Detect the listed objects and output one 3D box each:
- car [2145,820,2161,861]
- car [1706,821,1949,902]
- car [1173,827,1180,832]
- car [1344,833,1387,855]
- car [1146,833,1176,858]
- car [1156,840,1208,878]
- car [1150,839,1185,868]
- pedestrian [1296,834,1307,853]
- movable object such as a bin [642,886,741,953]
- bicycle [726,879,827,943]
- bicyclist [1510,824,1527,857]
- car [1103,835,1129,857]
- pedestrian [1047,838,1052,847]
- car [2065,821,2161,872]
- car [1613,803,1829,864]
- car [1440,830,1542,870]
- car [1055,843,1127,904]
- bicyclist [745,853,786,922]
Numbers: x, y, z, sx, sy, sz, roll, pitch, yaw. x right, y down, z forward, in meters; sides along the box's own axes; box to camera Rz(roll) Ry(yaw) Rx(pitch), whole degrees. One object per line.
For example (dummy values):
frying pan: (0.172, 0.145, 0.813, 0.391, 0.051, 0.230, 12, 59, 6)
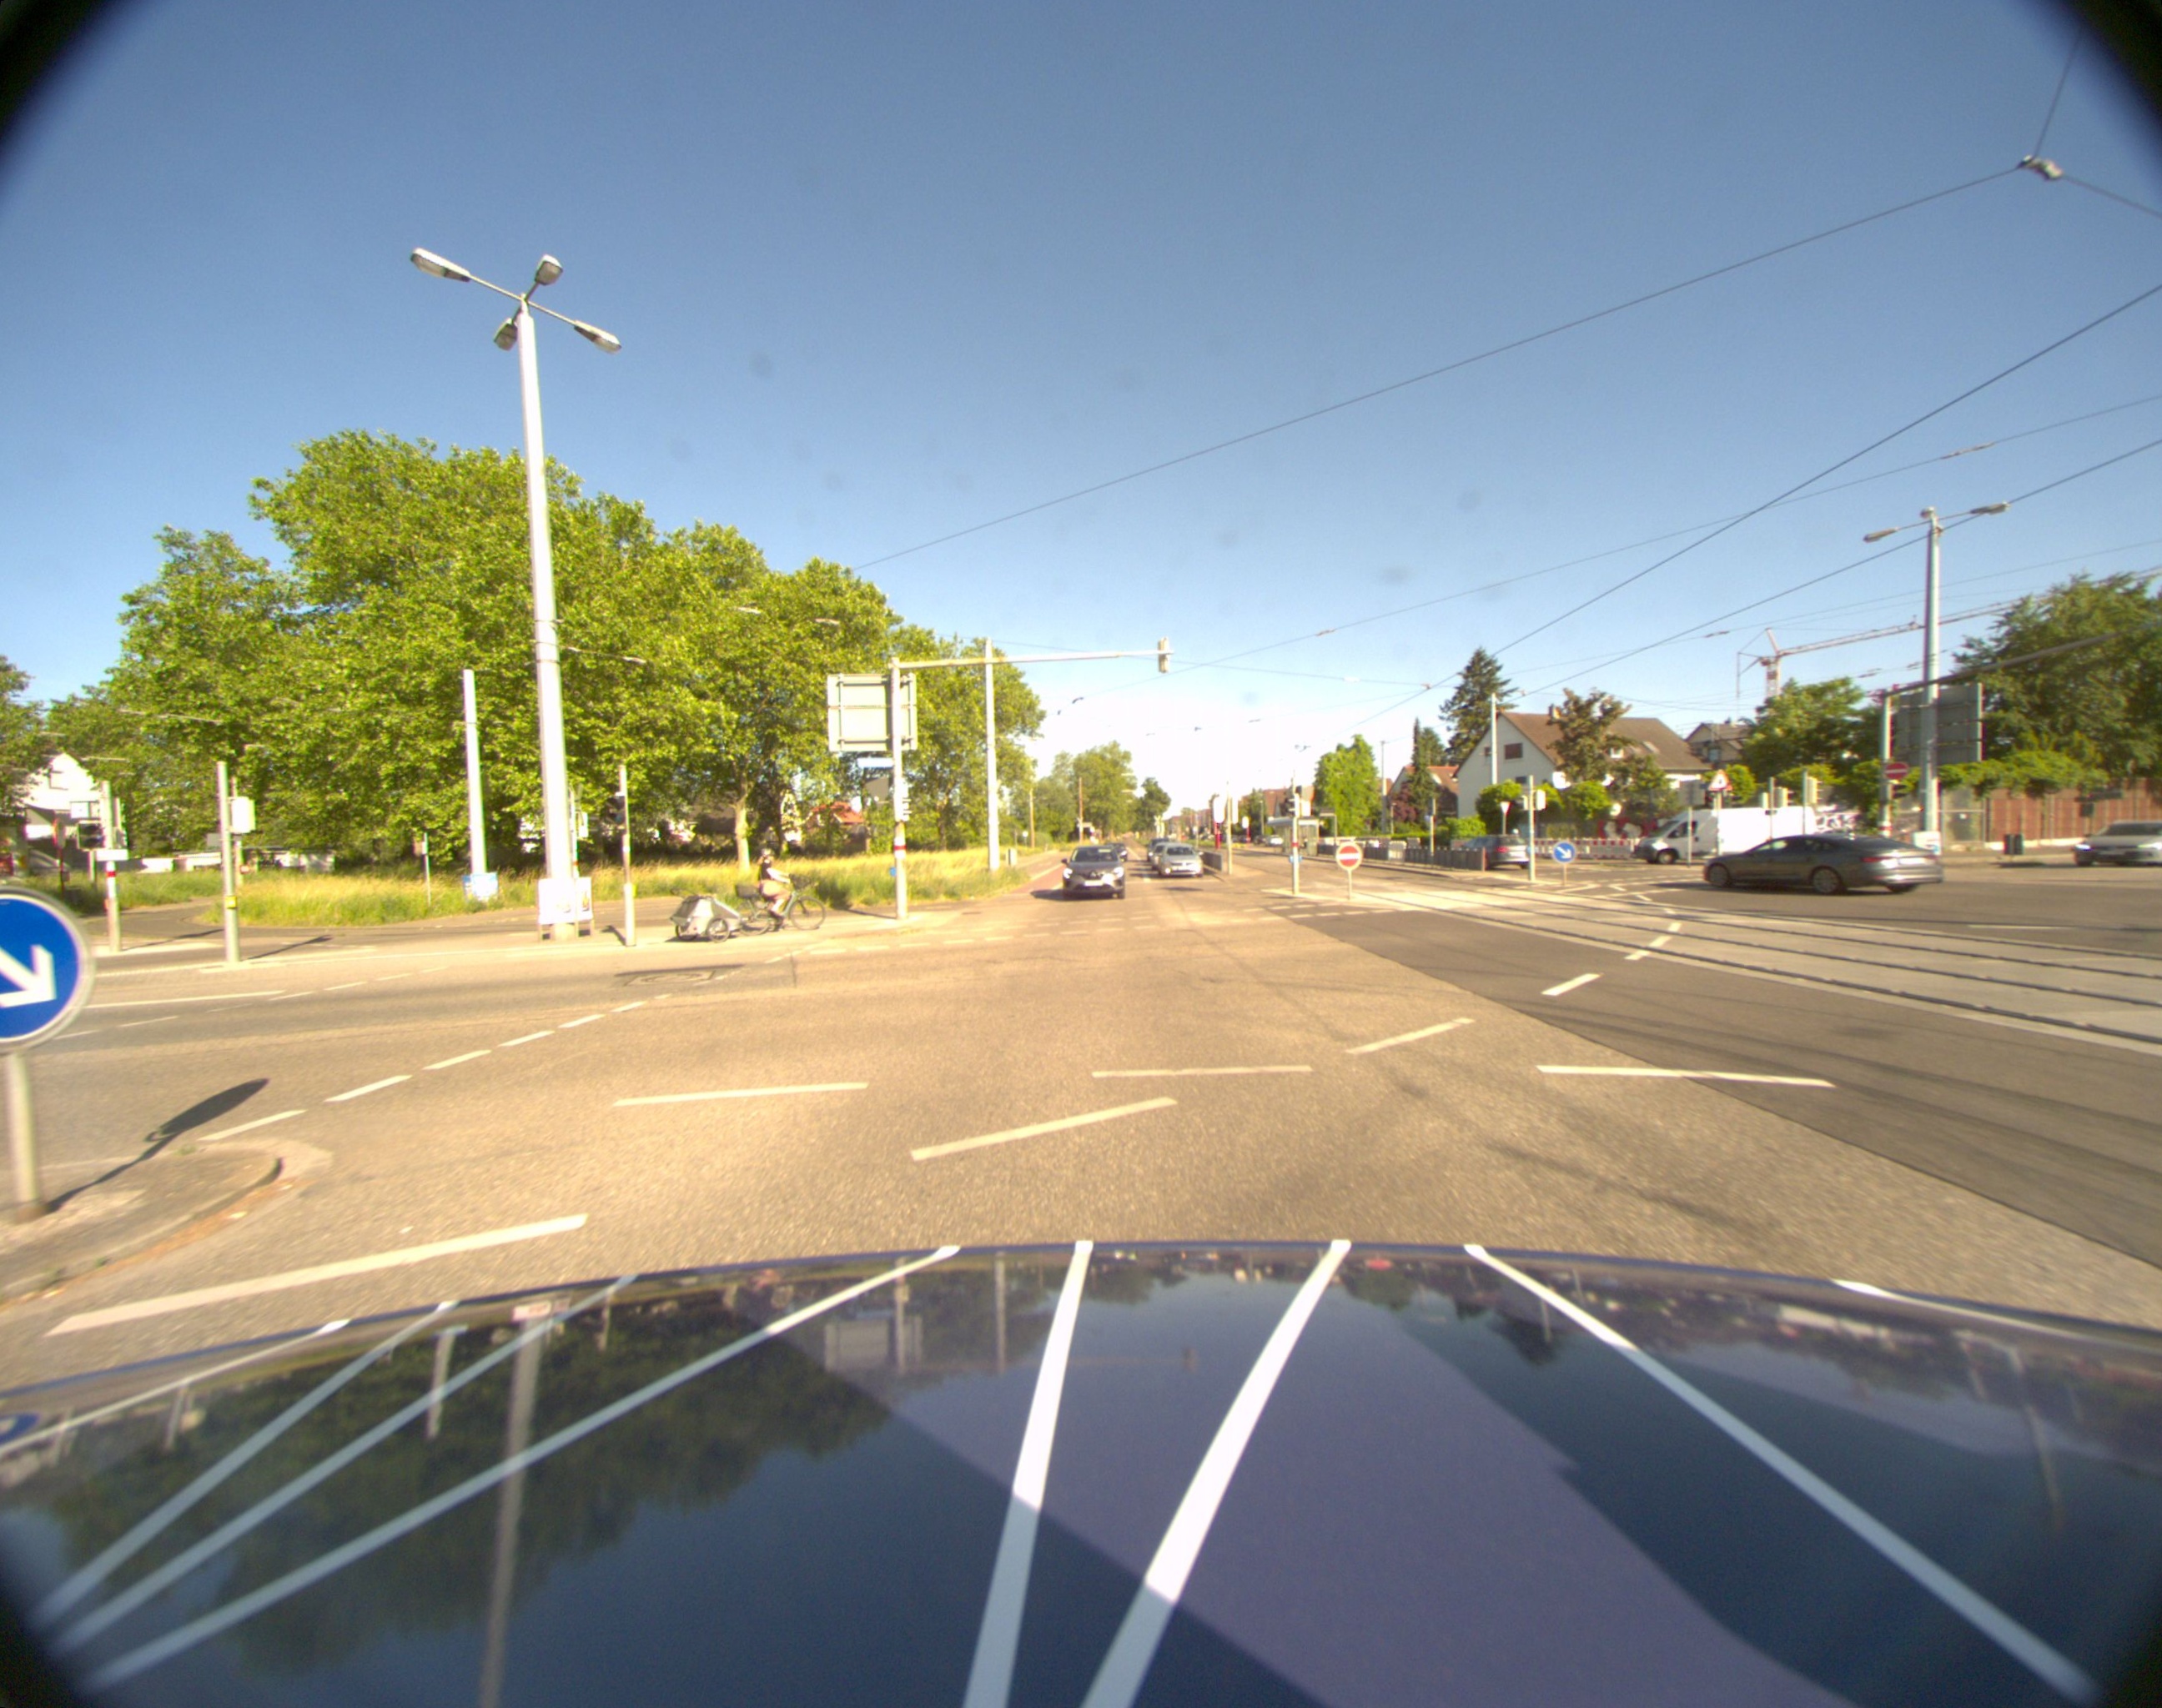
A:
car: (40.959, -0.542, 27.523, 4.370, 1.458, 1.934, -2, 2, -24)
car: (17.461, 0.112, 18.098, 1.796, 1.678, 3.999, -1, 2, -1)
car: (31.586, -8.051, 251.802, 1.998, 1.762, 4.000, -1, 2, 5)
car: (19.506, -0.700, 52.220, 1.687, 1.450, 3.703, -1, 2, 3)
car: (5.628, -0.659, 54.052, 1.885, 1.687, 4.300, -1, 2, 3)
car: (4.394, 0.166, 33.692, 1.881, 1.519, 4.420, -1, 2, 3)
car: (4.599, -0.055, 40.732, 1.585, 1.460, 3.414, -2, 2, 3)
pedestrian: (16.840, -0.799, 57.976, 0.623, 1.407, 0.711, -1, 2, 2)
movable object such as a bin: (-7.184, 1.179, 14.039, 0.909, 1.062, 1.319, -1, 2, 38)
bicycle: (-6.127, 1.118, 15.355, 0.467, 1.112, 1.823, 0, 2, 43)
bicyclist: (21.438, -0.651, 37.202, 0.490, 1.599, 0.648, -1, 2, 3)
car: (2.655, -0.625, 56.906, 1.838, 1.542, 3.815, -1, 2, 3)
pedestrian: (-3.569, -1.309, 86.892, 0.482, 1.027, 0.454, -1, 2, 4)
car: (33.633, -0.274, 24.232, 4.641, 1.469, 1.669, -2, 2, -24)
car: (27.684, -0.857, 33.307, 6.853, 2.444, 2.352, 0, 2, 25)
car: (17.647, -0.228, 32.966, 1.818, 1.587, 4.691, -2, 2, -1)
car: (0.378, 0.502, 22.175, 1.838, 1.542, 3.816, -1, 2, 4)
bicyclist: (-6.323, 0.657, 15.242, 0.509, 1.333, 0.566, 1, 3, 45)
